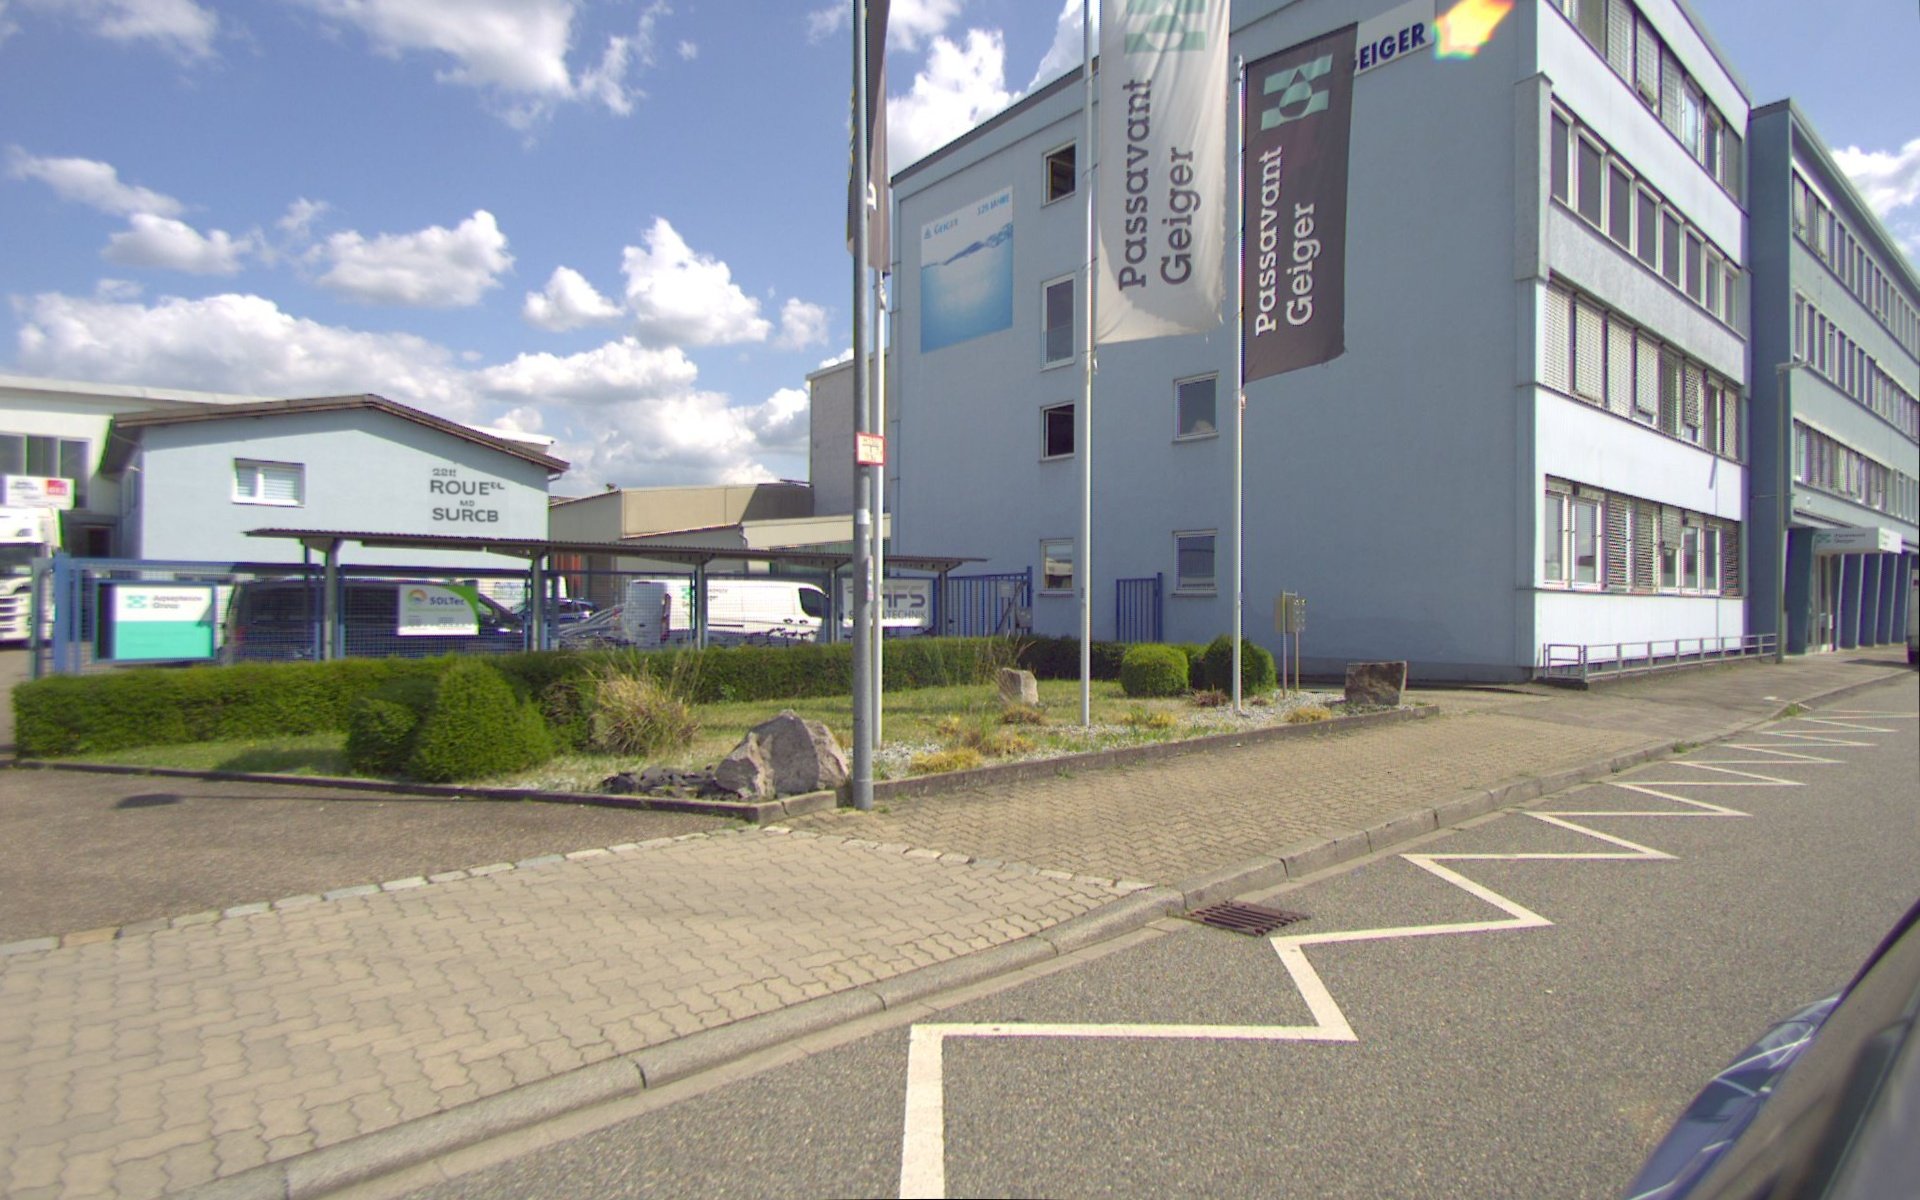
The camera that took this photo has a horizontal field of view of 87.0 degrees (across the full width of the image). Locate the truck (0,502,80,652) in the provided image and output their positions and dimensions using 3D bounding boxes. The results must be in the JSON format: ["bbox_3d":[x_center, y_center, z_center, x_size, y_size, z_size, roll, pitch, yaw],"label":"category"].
[{"bbox_3d":[-28.988,-0.737,30.868,2.580,4.048,9.661,0,1,-37],"label":"truck"}]

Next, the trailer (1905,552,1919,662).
[{"bbox_3d":[24.882,0.174,24.714,4.978,2.586,1.873,0,0,-38],"label":"trailer"}]

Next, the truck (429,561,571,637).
[{"bbox_3d":[-15.274,-0.024,33.647,3.929,2.394,1.997,0,-1,-40],"label":"truck"}]

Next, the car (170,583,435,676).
[{"bbox_3d":[-14.329,0.581,22.227,4.631,1.827,1.996,0,-1,-43],"label":"car"}]

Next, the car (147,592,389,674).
[{"bbox_3d":[-16.420,0.720,24.142,4.554,1.760,1.996,0,-1,-43],"label":"car"}]

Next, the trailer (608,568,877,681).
[{"bbox_3d":[-4.212,0.424,20.337,5.190,2.010,1.687,0,0,-43],"label":"trailer"}]

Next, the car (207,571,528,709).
[{"bbox_3d":[-9.271,0.548,16.009,4.071,1.894,1.996,0,-1,-43],"label":"car"}]
